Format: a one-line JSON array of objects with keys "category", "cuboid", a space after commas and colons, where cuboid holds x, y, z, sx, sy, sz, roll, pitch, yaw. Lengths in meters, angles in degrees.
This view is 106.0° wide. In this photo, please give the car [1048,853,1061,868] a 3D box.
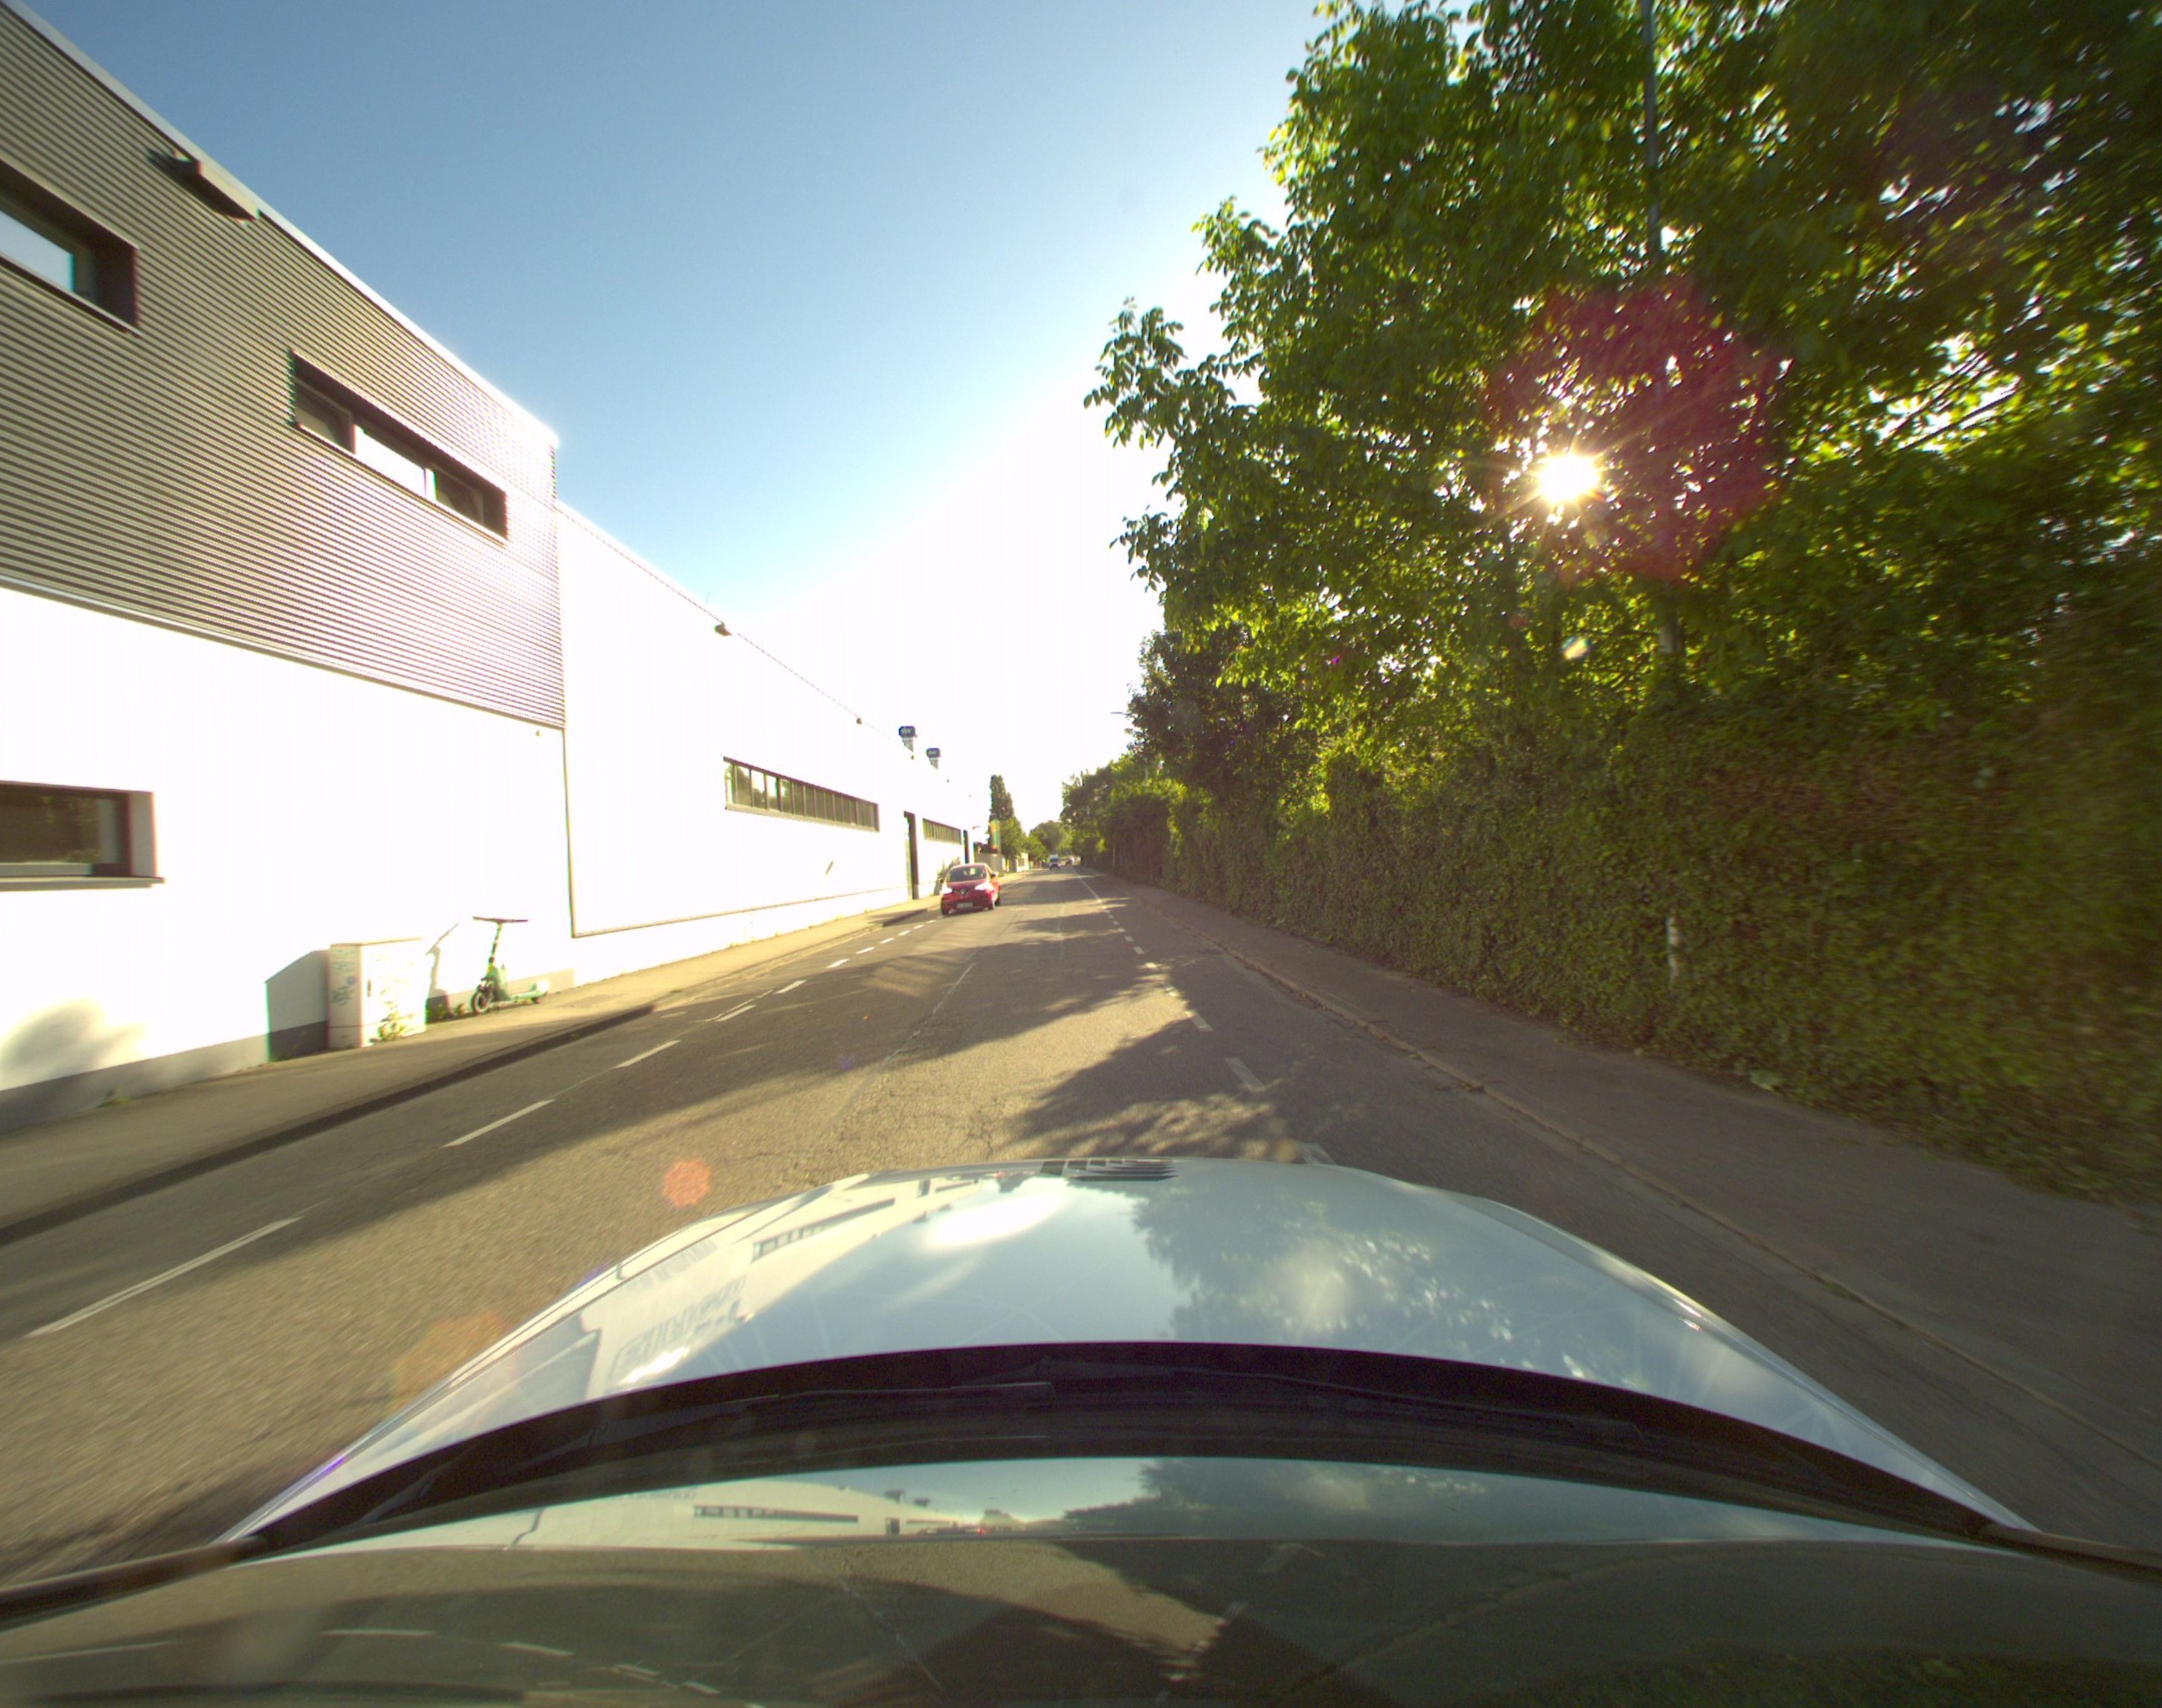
[{"category": "car", "cuboid": [-5.185, 1.318, 161.671, 2.117, 2.780, 5.924, -6, -1, -1]}]

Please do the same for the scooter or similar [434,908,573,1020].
[{"category": "scooter or similar", "cuboid": [-7.234, 1.331, 10.310, 0.505, 1.203, 1.752, 0, -1, -1]}]

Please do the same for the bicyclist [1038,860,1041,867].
[{"category": "bicyclist", "cuboid": [-9.124, 2.028, 177.975, 0.687, 1.532, 0.722, -2, -1, -2]}]

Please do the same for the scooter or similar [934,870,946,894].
[{"category": "scooter or similar", "cuboid": [-7.754, 1.519, 44.710, 0.415, 1.267, 1.059, -3, 0, -1]}]

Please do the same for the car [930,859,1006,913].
[{"category": "car", "cuboid": [-3.753, 1.021, 27.786, 1.812, 1.489, 4.000, -7, 0, 1]}]

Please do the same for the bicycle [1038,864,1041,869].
[{"category": "bicycle", "cuboid": [-9.100, 2.637, 177.953, 0.687, 1.034, 1.350, -2, 0, -1]}]
